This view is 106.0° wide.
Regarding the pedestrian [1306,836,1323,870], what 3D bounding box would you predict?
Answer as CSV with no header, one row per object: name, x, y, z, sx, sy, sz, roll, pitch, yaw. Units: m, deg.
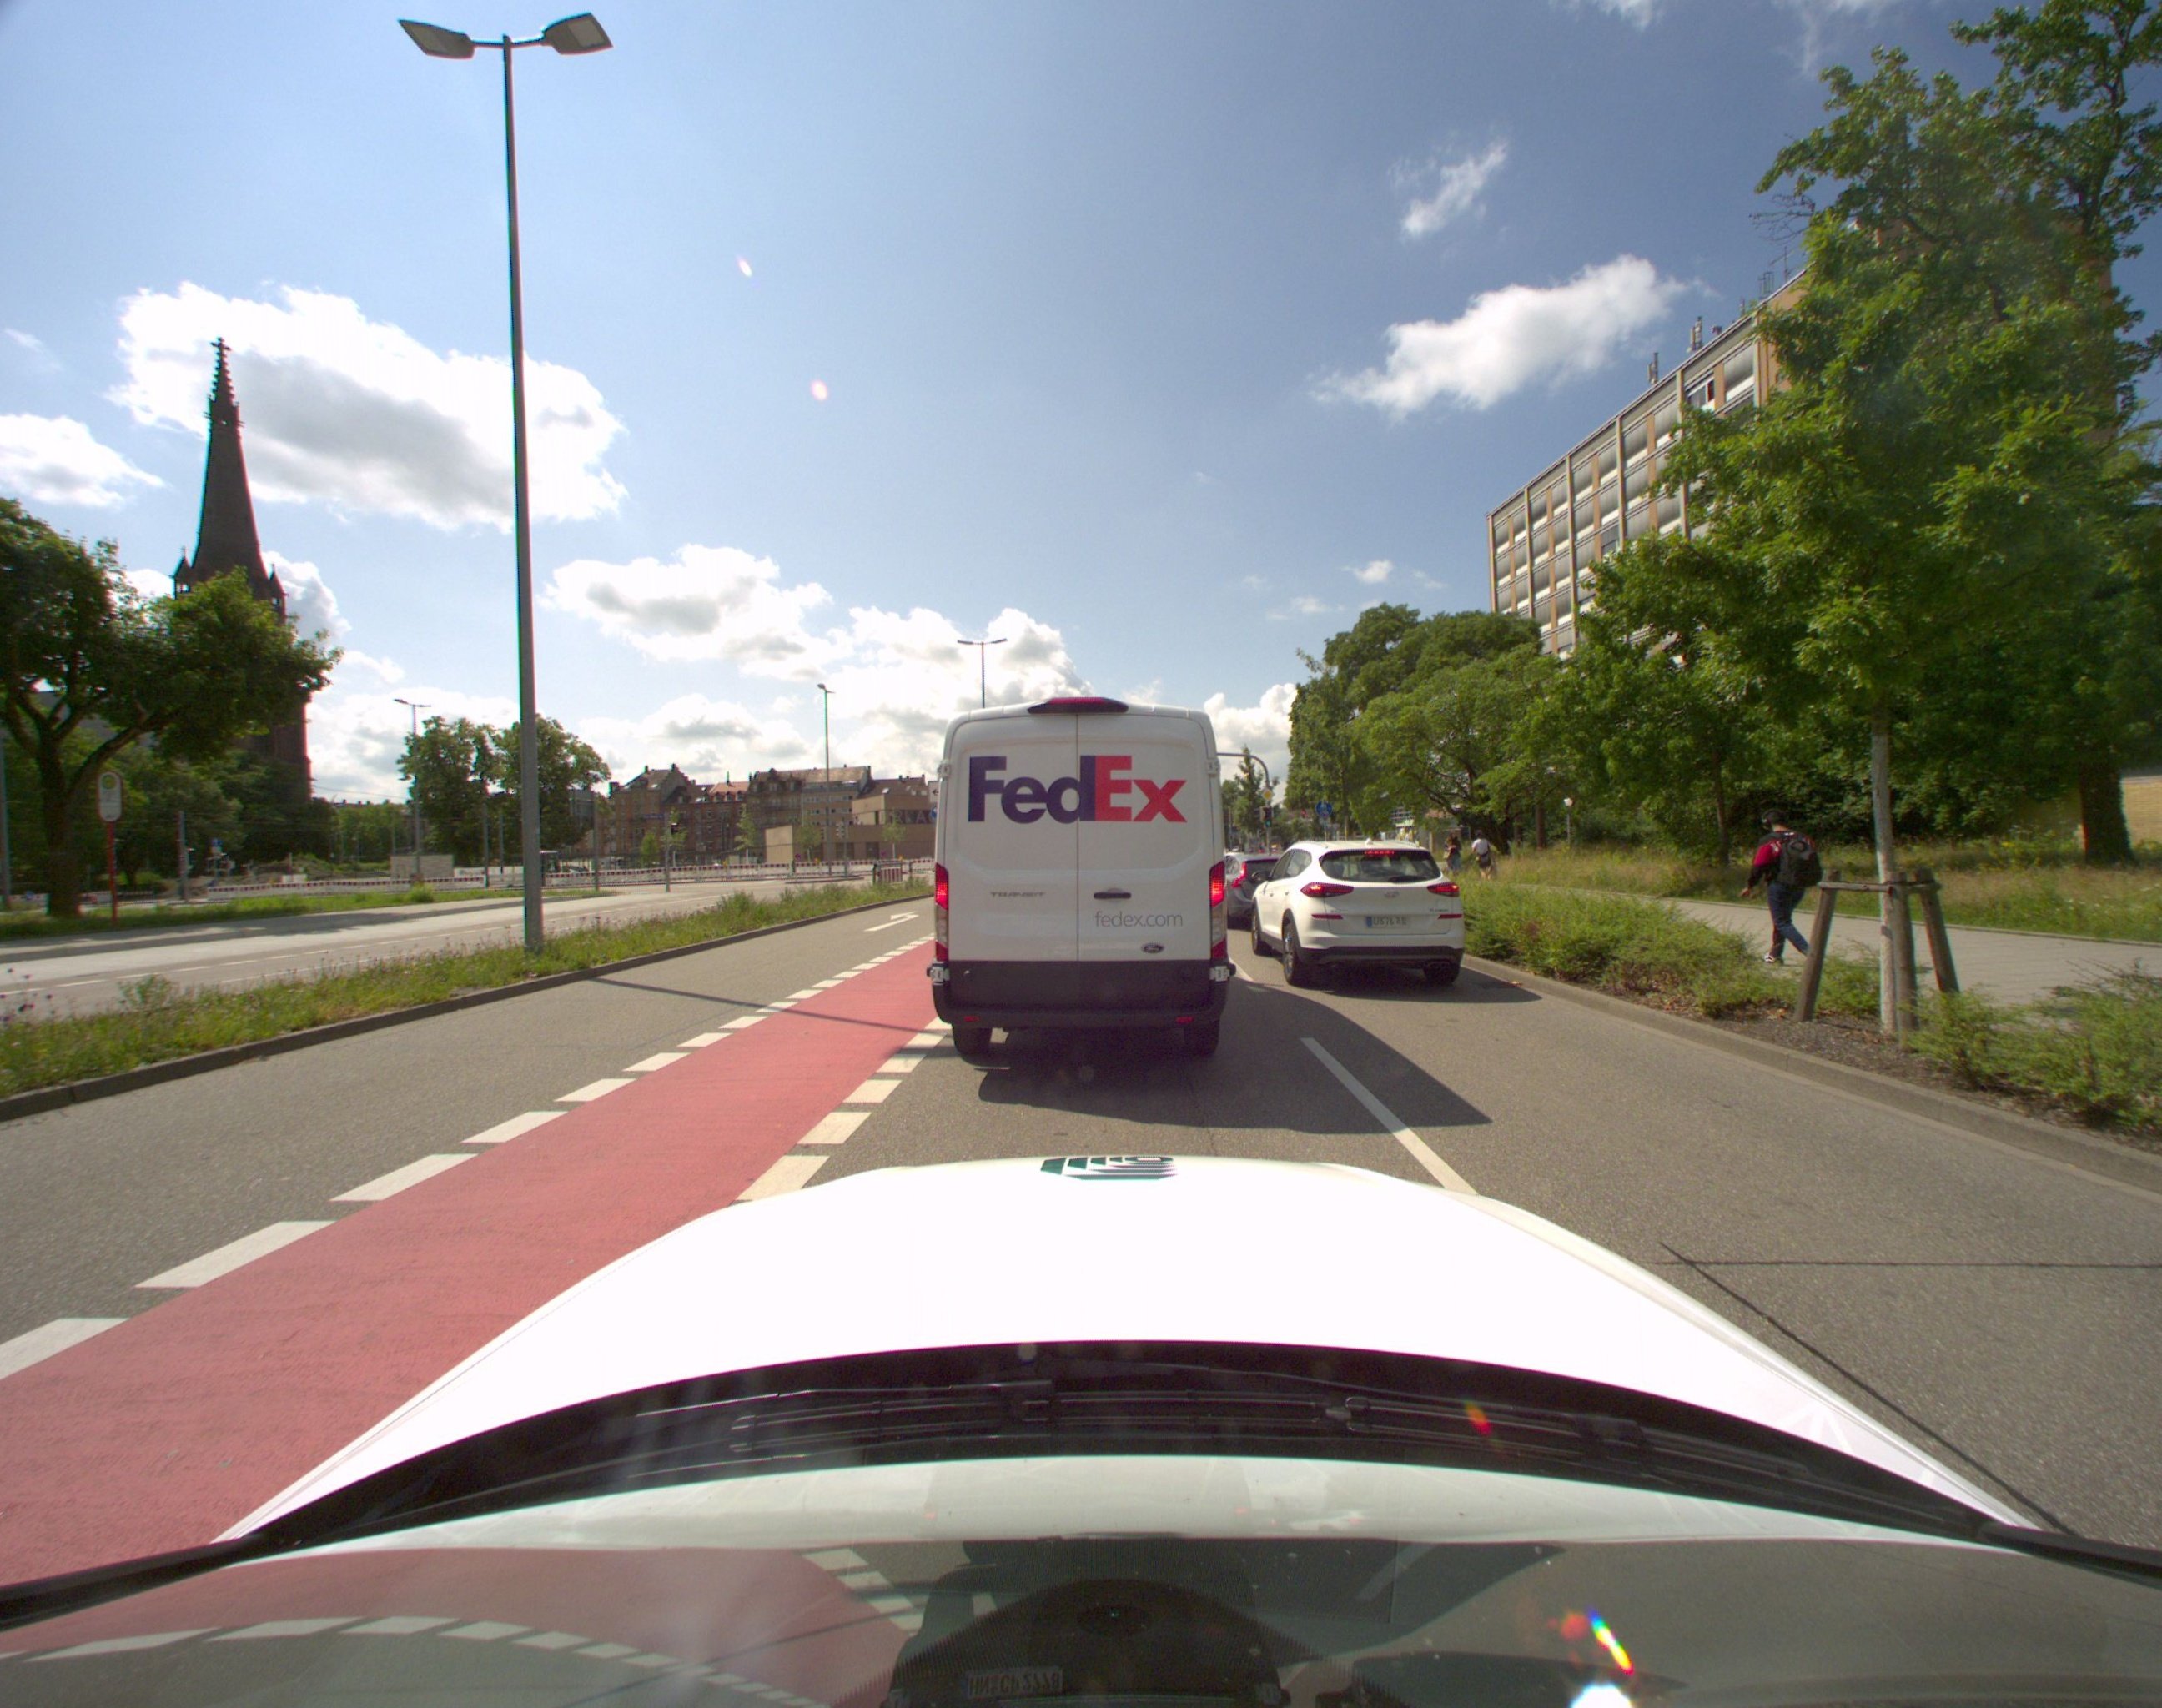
pedestrian,12.926,-0.039,45.091,0.755,1.849,0.817,-2,0,5

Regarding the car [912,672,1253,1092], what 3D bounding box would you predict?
car,0.135,0.170,7.327,2.064,2.581,4.432,-2,0,3

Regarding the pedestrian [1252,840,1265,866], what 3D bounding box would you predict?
pedestrian,13.052,-0.063,59.798,0.810,1.849,0.762,-2,0,5

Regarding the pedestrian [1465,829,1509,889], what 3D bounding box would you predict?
pedestrian,10.898,0.117,21.872,0.755,1.557,0.817,-2,0,3

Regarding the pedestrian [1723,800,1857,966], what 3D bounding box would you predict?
pedestrian,7.584,0.303,8.753,0.753,1.684,0.819,-2,0,13

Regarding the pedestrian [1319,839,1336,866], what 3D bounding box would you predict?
pedestrian,16.879,-0.094,55.820,0.758,1.849,0.814,-2,0,-8

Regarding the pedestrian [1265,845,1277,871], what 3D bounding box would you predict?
pedestrian,13.715,0.305,58.889,0.753,1.849,0.820,-2,0,16

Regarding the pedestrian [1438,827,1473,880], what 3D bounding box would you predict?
pedestrian,12.018,-0.021,26.158,0.755,1.655,0.817,-2,0,5

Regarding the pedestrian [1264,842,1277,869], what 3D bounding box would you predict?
pedestrian,13.153,0.094,56.545,0.752,1.849,0.820,-2,0,20

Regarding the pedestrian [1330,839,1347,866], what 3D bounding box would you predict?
pedestrian,17.716,-0.101,56.061,0.758,1.849,0.814,-2,0,-6

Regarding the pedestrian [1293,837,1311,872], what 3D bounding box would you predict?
pedestrian,12.116,0.023,44.745,0.755,1.849,0.817,-2,0,3

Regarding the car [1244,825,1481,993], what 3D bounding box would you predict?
car,3.287,0.557,10.370,1.807,1.678,3.978,-2,0,3

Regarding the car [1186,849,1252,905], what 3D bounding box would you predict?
car,3.926,0.605,23.584,1.493,1.464,3.477,-2,0,3

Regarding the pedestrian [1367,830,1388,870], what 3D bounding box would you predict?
pedestrian,13.704,-0.176,37.672,0.754,1.789,0.818,-2,0,10

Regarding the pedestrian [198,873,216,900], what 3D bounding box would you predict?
pedestrian,-65.358,2.420,60.908,0.629,2.013,0.648,-2,0,-4

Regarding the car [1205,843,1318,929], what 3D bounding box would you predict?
car,3.605,0.573,16.836,1.684,1.549,3.724,-2,0,3
